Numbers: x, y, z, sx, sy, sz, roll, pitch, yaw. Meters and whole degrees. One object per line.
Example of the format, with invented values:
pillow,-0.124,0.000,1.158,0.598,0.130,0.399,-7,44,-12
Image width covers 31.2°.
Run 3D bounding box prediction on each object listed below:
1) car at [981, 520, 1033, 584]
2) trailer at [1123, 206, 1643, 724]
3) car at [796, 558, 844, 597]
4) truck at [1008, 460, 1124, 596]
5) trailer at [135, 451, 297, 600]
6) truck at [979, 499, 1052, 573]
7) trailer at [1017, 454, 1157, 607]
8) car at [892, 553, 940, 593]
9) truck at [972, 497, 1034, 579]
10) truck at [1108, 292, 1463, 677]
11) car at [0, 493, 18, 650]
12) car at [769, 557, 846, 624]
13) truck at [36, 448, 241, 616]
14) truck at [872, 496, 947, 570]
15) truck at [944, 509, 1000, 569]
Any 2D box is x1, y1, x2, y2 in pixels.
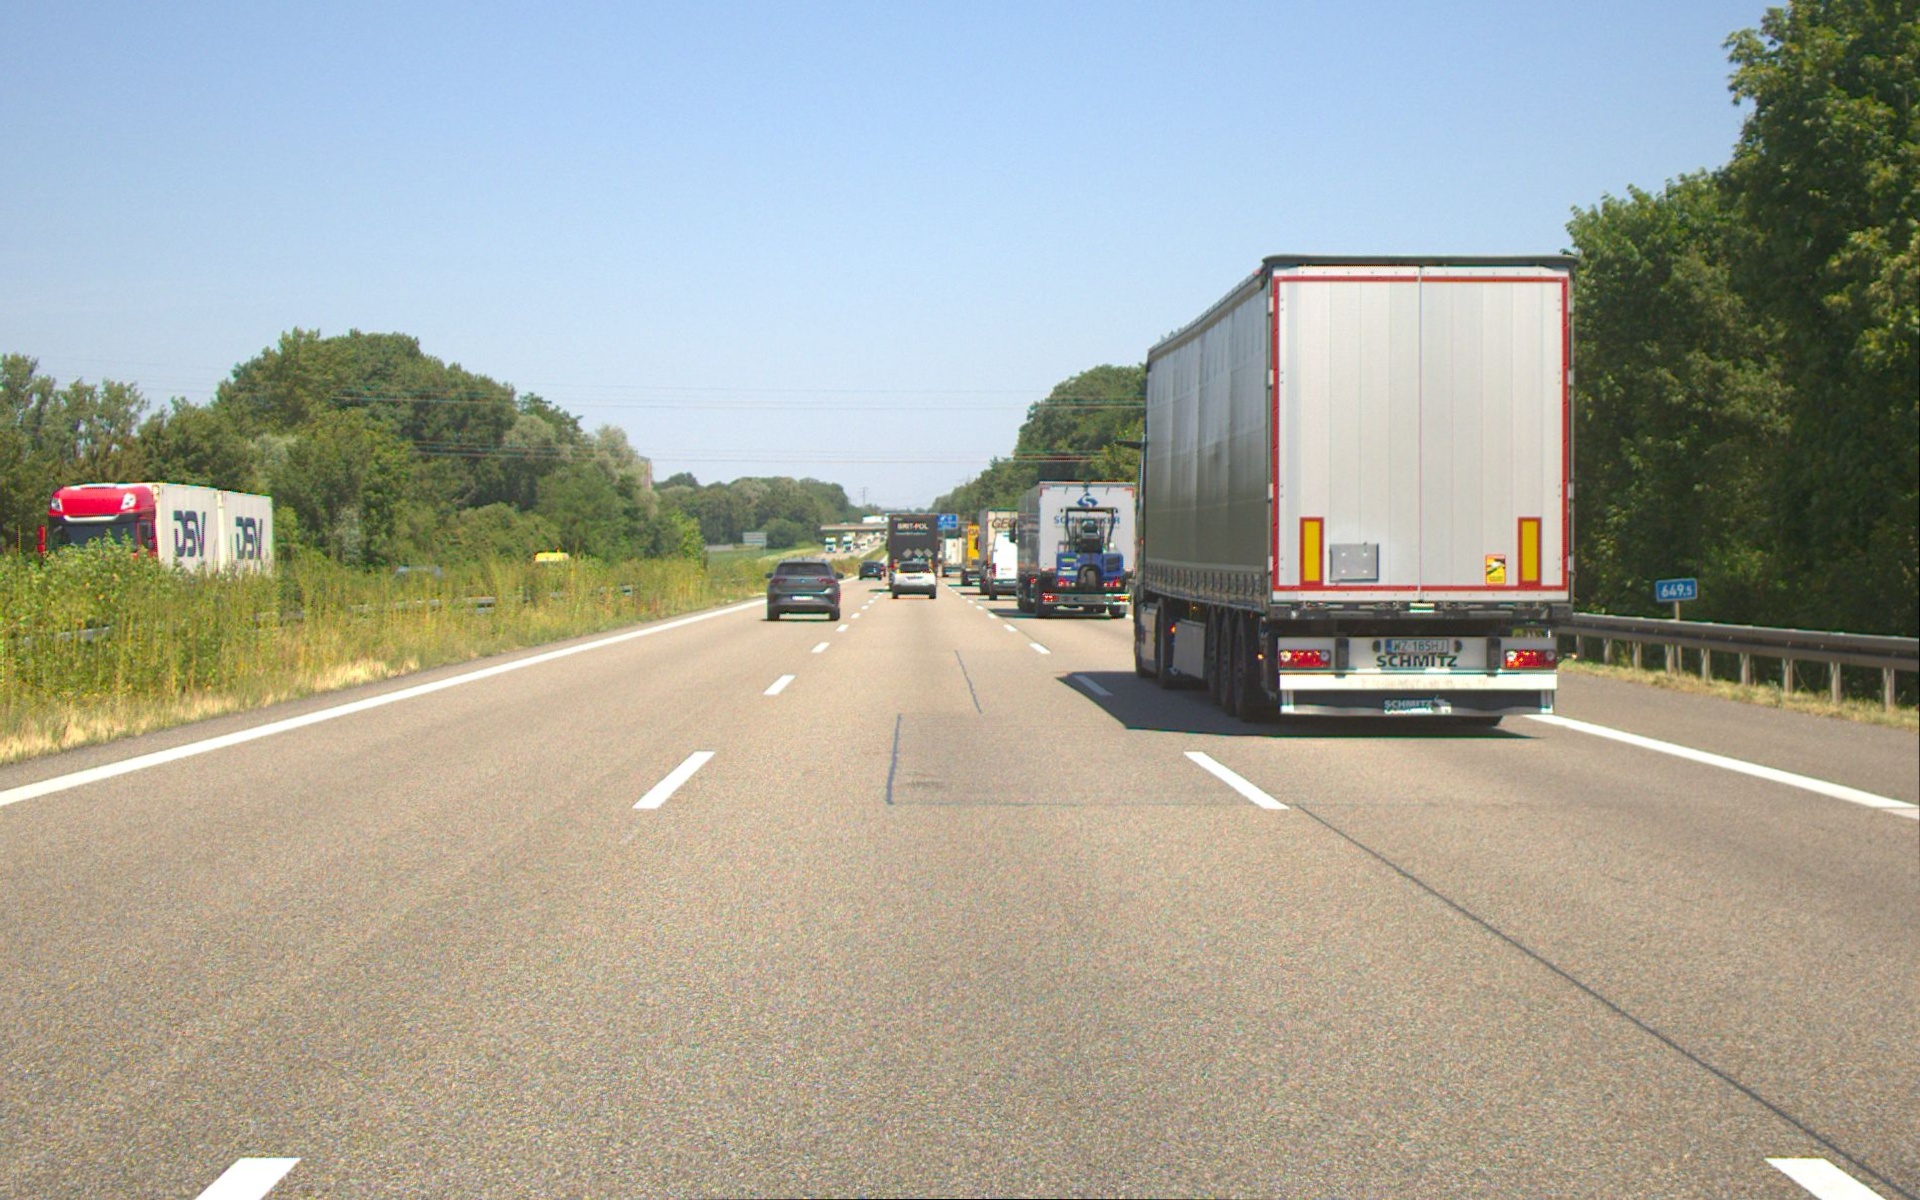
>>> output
car,1.860,-1.937,136.218,1.907,2.417,4.286,1,2,-1
trailer,3.771,-1.202,34.855,3.434,4.167,13.633,1,1,0
car,-5.961,-0.977,147.038,1.900,1.525,4.084,1,2,-1
truck,3.119,-2.239,104.041,3.057,3.865,10.034,1,2,-1
trailer,-22.432,-2.282,104.153,3.047,4.310,9.033,0,2,-1
truck,2.880,-3.354,179.018,3.667,3.713,7.108,1,2,1
trailer,3.366,-1.953,94.110,3.122,3.913,9.938,1,2,-2
car,-1.808,-1.112,140.724,1.900,1.525,4.084,1,2,-1
truck,2.012,-2.960,161.063,2.792,3.713,7.108,1,2,1
truck,3.715,-1.281,41.098,3.464,4.163,6.844,1,0,-1
car,-18.251,-0.461,59.429,2.328,2.812,6.609,-1,1,-2
car,-3.826,-0.264,86.631,1.759,1.525,4.286,1,2,-1
truck,-22.383,-1.912,94.347,3.071,4.295,10.628,1,2,0
truck,-2.586,-3.515,178.802,3.667,3.713,7.108,1,2,1
truck,0.802,-3.987,222.081,3.489,3.713,7.108,1,2,1
